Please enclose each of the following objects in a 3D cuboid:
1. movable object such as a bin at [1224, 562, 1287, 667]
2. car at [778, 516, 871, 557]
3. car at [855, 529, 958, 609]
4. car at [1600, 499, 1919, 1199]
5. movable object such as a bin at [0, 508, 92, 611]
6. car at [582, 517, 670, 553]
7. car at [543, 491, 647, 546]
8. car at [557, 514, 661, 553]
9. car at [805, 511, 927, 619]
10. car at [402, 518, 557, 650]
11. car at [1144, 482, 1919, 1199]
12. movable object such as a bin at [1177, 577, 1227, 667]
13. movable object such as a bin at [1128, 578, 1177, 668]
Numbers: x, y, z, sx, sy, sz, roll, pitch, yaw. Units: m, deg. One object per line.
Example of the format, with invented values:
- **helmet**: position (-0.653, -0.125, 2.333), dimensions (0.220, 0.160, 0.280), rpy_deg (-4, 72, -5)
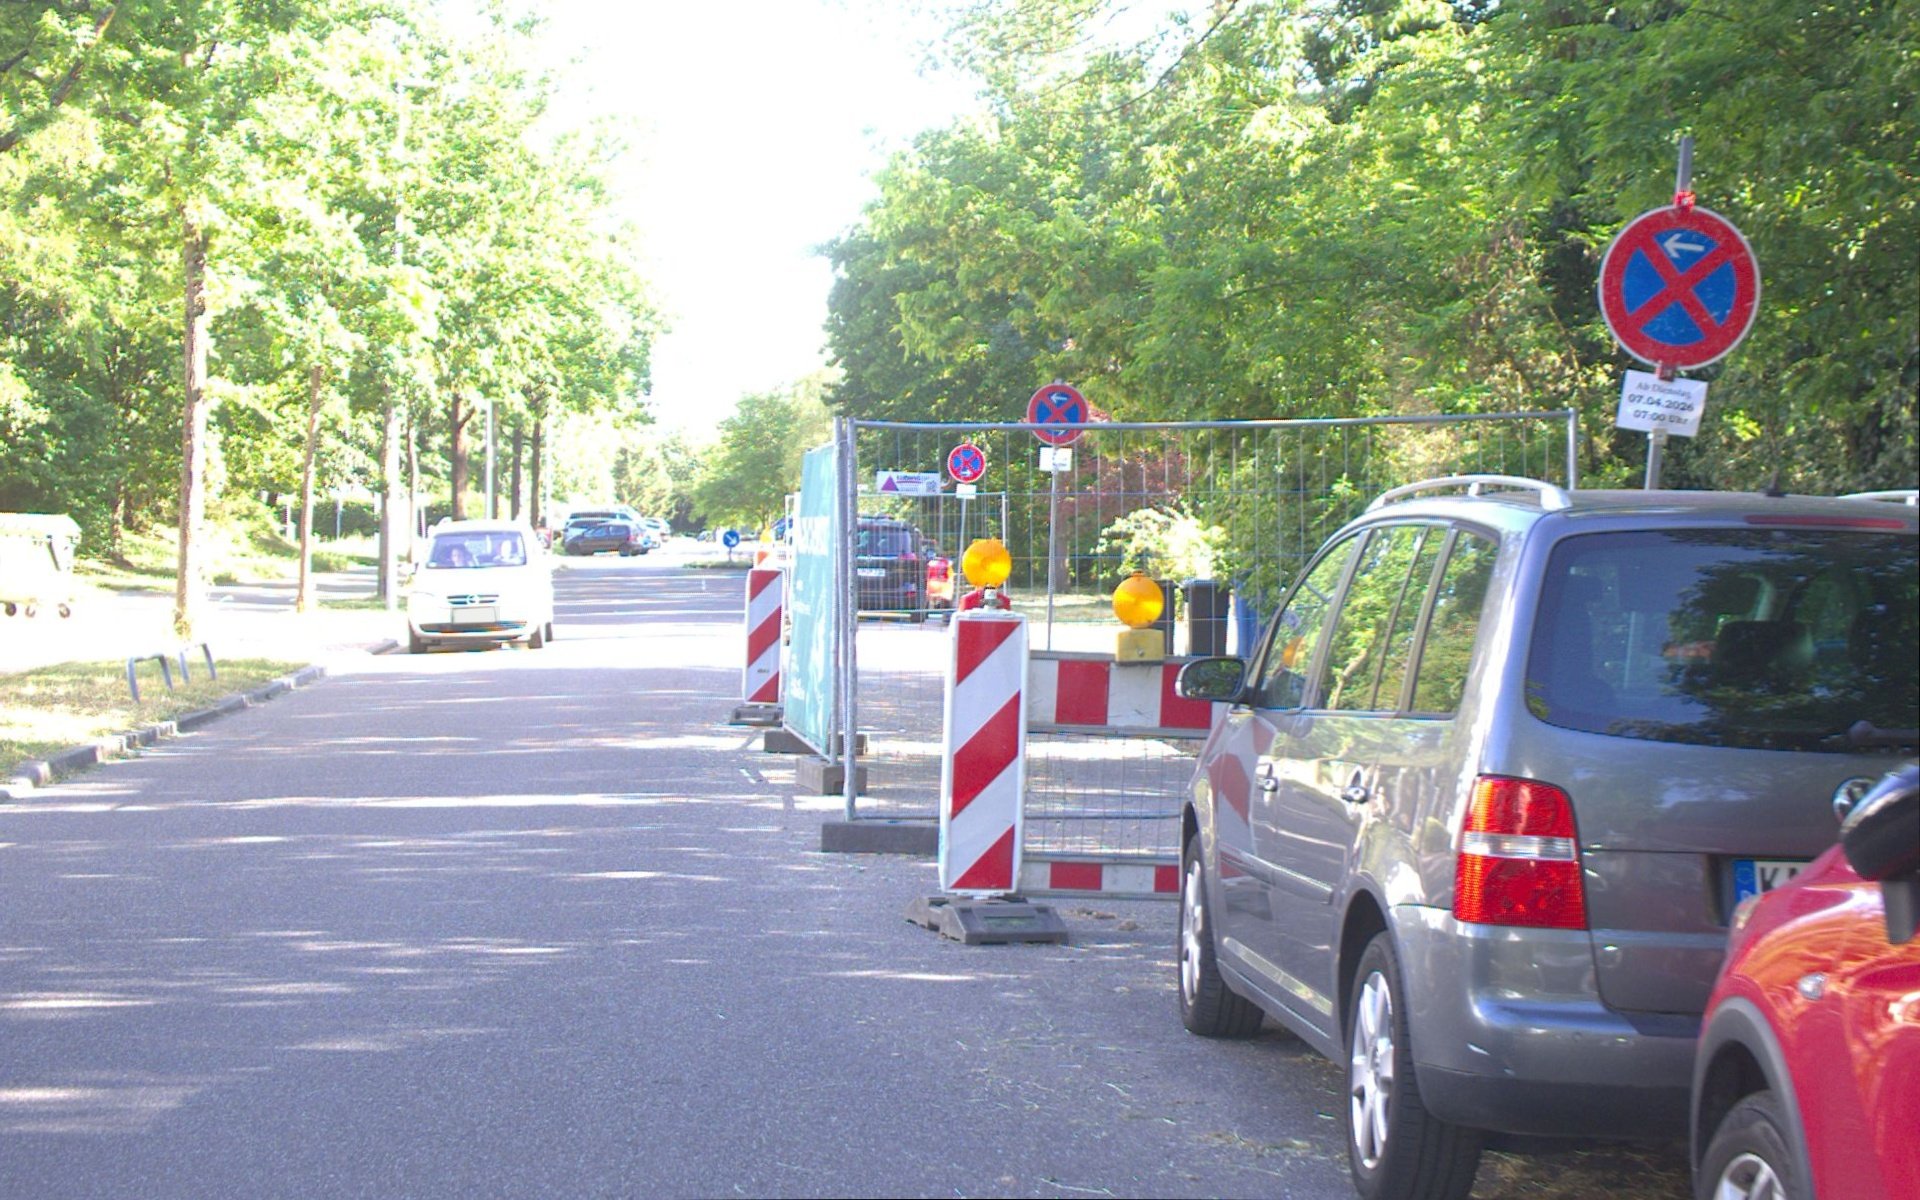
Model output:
- **movable object such as a bin**: position (2.885, 0.136, 33.558), dimensions (0.518, 0.996, 0.608), rpy_deg (-1, 1, -3)
- **car**: position (-5.873, -2.752, 149.052), dimensions (3.839, 1.571, 1.688), rpy_deg (2, 1, 3)
- **car**: position (-1.027, -0.599, 64.054), dimensions (1.661, 1.371, 4.156), rpy_deg (2, 1, -4)
- **car**: position (2.089, 0.685, 4.157), dimensions (1.678, 1.568, 4.067), rpy_deg (2, 1, -3)
- **movable object such as a bin**: position (-13.059, -0.578, 48.301), dimensions (1.270, 1.430, 1.181), rpy_deg (1, 1, 13)
- **car**: position (-16.438, -3.213, 169.344), dimensions (4.106, 1.571, 1.959), rpy_deg (2, 1, -1)
- **car**: position (-18.927, -4.220, 178.153), dimensions (5.198, 2.612, 2.294), rpy_deg (2, 1, -8)
- **car**: position (-15.611, -2.957, 153.059), dimensions (4.318, 1.571, 2.046), rpy_deg (2, 1, 3)
- **car**: position (-1.527, -0.606, 57.295), dimensions (1.810, 1.645, 4.421), rpy_deg (2, 1, 0)
- **car**: position (-6.114, -0.240, 44.030), dimensions (1.659, 1.590, 4.009), rpy_deg (1, 1, -4)
- **car**: position (1.606, 0.545, 8.932), dimensions (1.678, 1.616, 4.138), rpy_deg (2, 1, -4)
- **movable object such as a bin**: position (2.363, 0.210, 33.613), dimensions (0.413, 0.867, 0.484), rpy_deg (-1, 1, -3)
- **movable object such as a bin**: position (1.877, 0.221, 33.511), dimensions (0.413, 0.867, 0.484), rpy_deg (-1, 1, -3)
